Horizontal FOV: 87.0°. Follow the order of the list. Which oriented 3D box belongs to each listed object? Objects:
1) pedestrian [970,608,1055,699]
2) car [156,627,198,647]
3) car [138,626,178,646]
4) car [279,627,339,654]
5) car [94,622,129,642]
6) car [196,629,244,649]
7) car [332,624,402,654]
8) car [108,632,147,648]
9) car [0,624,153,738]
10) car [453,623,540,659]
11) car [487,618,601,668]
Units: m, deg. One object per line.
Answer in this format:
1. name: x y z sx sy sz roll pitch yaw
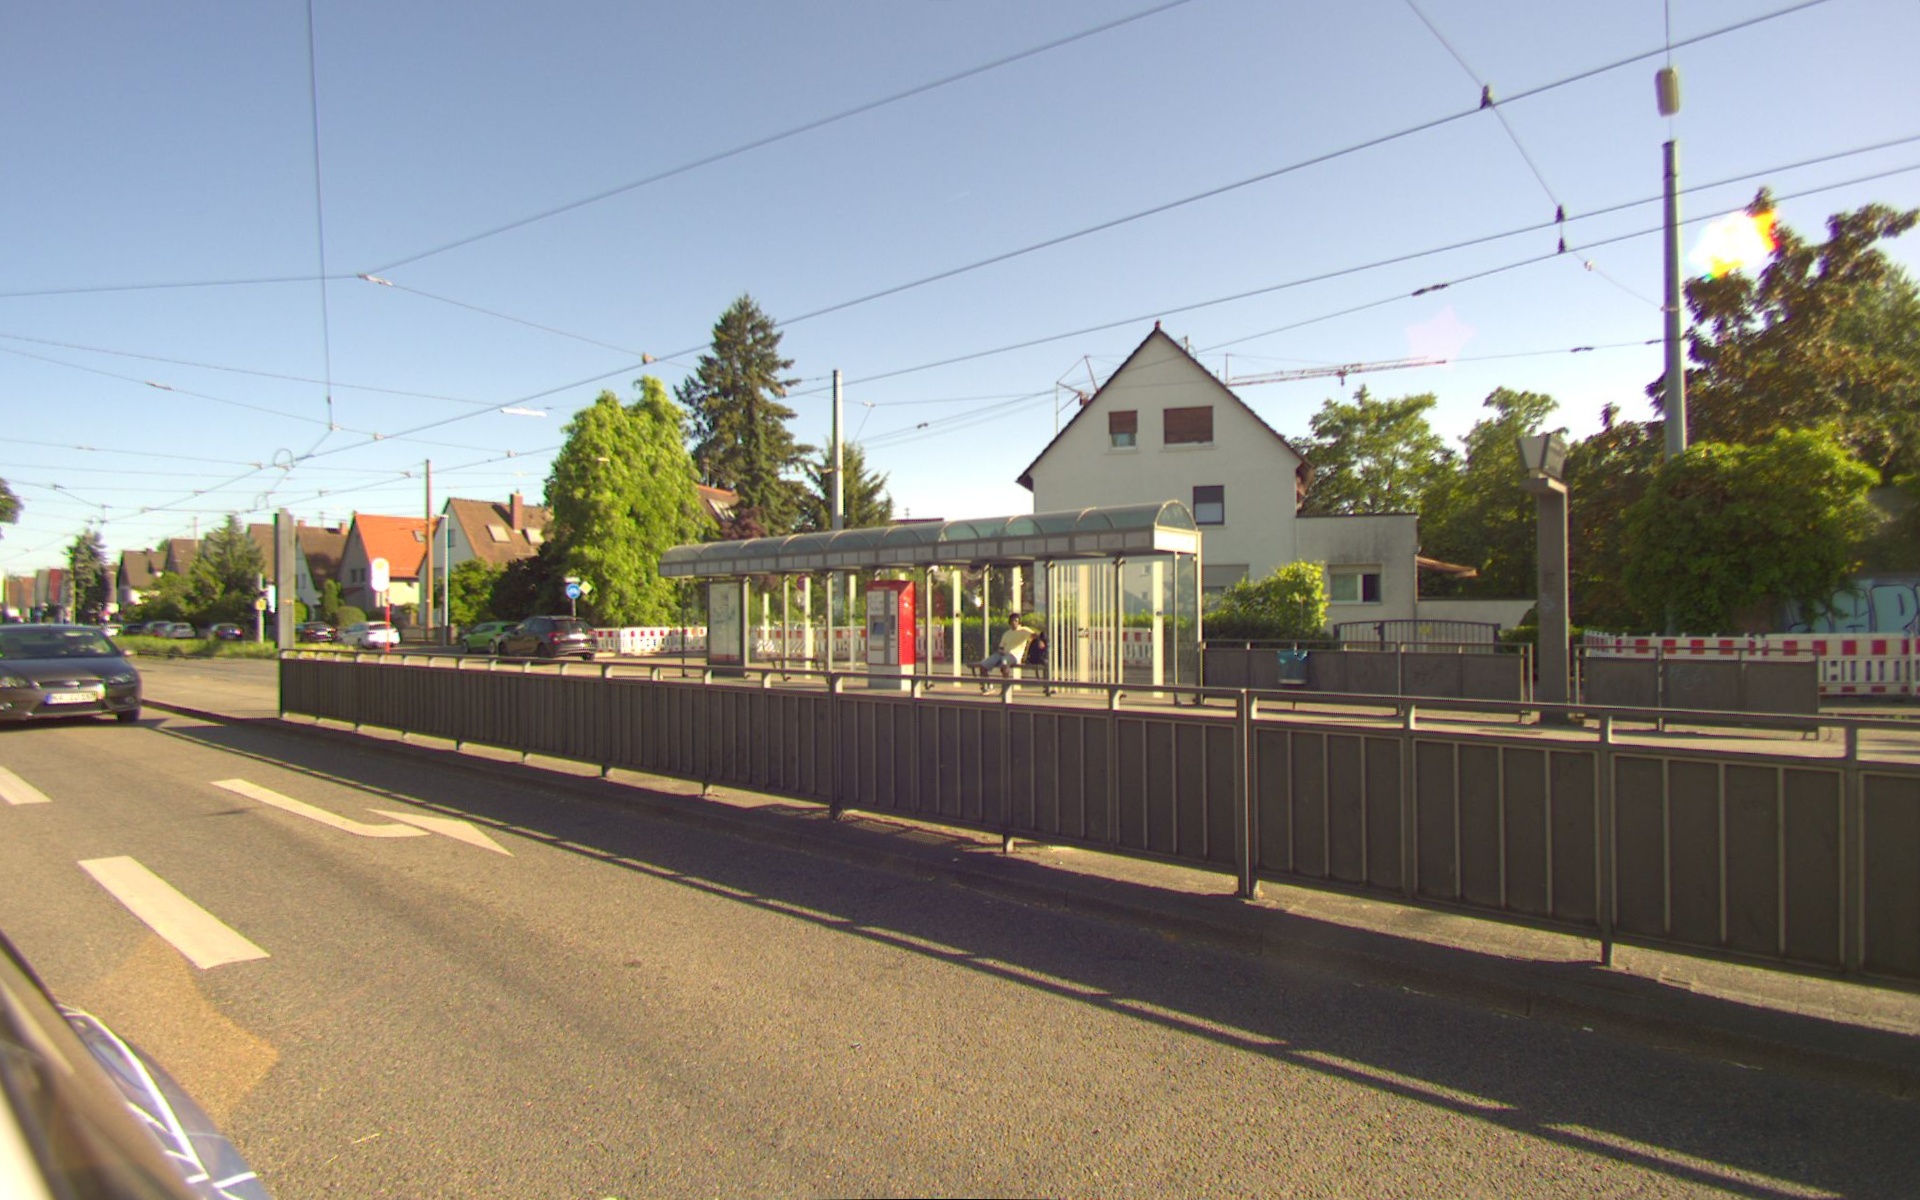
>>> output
1. pedestrian: 0.880 0.874 17.020 1.006 1.464 1.050 -1 -2 40
2. car: -64.592 3.036 83.433 4.837 1.483 1.864 -2 0 42
3. car: -68.588 3.069 86.529 4.534 1.573 1.864 -2 0 41
4. car: -39.791 2.432 61.834 4.438 1.477 1.887 -1 0 41
5. car: -83.995 3.171 100.125 4.582 1.877 1.973 -2 -1 41
6. car: -54.158 2.818 74.017 4.308 1.382 1.972 -2 -1 42
7. car: -32.492 2.100 55.422 4.610 1.483 1.865 -1 0 40
8. car: -77.457 3.666 94.137 4.979 1.351 1.973 -1 0 41
9. car: -13.701 1.103 15.078 4.329 1.461 1.758 -1 -1 39
10. car: -21.033 1.817 45.876 4.064 1.512 1.974 -1 0 38
11. car: -13.720 1.393 33.269 4.341 1.532 1.717 -2 -2 41
